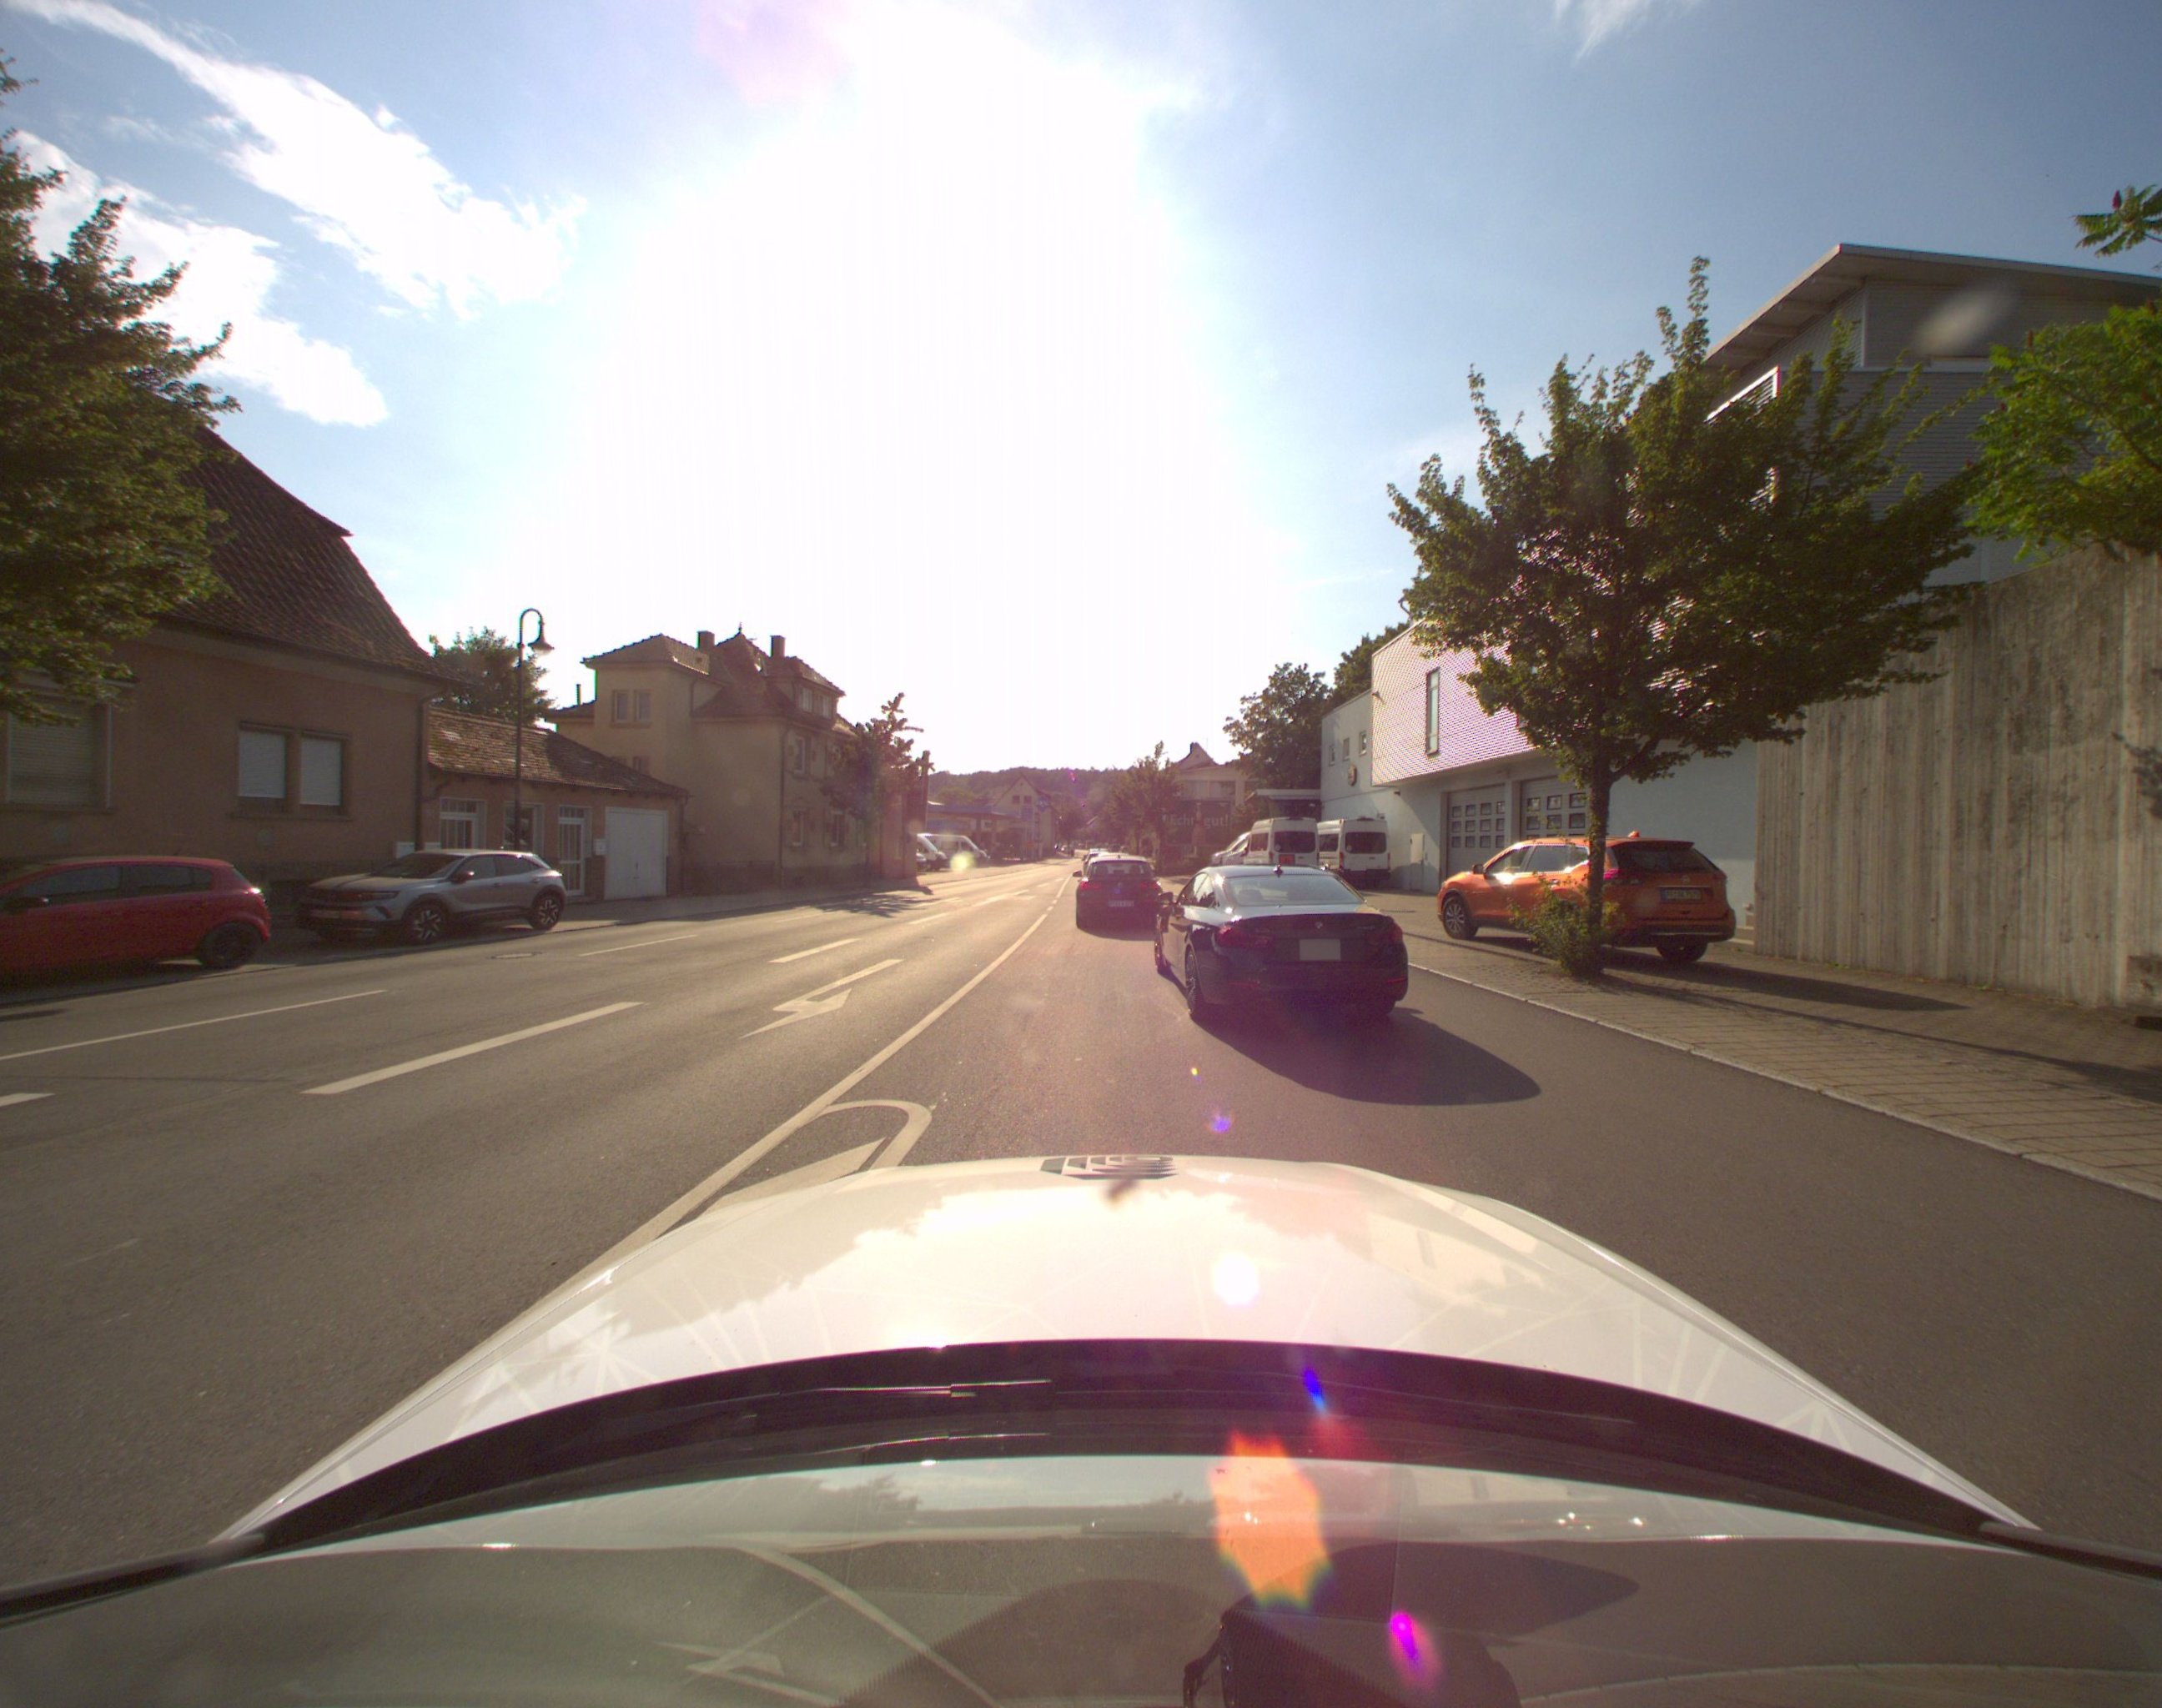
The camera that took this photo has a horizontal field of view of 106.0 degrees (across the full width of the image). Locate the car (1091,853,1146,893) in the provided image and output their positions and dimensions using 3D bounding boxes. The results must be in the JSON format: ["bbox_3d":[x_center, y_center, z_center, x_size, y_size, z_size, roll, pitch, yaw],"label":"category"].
[{"bbox_3d":[1.379,0.680,31.133,1.750,1.414,3.417,0,1,-4],"label":"car"}]

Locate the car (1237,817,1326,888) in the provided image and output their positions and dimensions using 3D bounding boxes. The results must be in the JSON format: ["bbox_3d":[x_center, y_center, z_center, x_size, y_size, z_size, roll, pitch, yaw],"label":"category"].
[{"bbox_3d":[8.170,-0.104,33.869,2.142,2.680,6.604,0,1,1],"label":"car"}]

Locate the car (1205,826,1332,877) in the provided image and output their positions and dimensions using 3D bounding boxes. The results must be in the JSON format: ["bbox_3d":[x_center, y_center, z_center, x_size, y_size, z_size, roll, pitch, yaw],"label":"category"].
[{"bbox_3d":[9.530,-0.123,41.673,6.025,2.516,2.043,0,1,-1],"label":"car"}]

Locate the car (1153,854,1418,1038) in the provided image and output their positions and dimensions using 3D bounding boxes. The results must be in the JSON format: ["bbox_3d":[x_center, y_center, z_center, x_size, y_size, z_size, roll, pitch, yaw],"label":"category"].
[{"bbox_3d":[1.810,0.724,8.577,1.694,1.369,4.261,-1,1,-1],"label":"car"}]

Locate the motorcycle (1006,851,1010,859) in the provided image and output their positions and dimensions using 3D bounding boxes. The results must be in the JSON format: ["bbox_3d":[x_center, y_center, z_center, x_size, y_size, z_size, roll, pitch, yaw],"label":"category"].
[{"bbox_3d":[-8.643,0.133,96.300,0.362,0.943,1.696,0,1,1],"label":"motorcycle"}]

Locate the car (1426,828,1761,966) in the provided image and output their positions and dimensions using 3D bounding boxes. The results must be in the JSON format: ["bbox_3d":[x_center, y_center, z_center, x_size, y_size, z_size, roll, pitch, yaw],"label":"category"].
[{"bbox_3d":[7.144,0.495,12.054,1.832,1.649,4.530,0,0,-5],"label":"car"}]

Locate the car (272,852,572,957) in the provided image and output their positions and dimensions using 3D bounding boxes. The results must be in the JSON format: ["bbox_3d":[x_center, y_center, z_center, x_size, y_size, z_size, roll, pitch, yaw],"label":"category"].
[{"bbox_3d":[-11.446,0.766,14.569,1.746,1.478,4.009,3,1,7],"label":"car"}]

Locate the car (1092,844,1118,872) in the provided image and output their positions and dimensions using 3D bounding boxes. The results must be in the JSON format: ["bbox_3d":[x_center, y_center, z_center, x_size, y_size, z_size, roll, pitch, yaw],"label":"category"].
[{"bbox_3d":[1.607,0.261,53.833,1.595,1.767,3.415,0,1,4],"label":"car"}]

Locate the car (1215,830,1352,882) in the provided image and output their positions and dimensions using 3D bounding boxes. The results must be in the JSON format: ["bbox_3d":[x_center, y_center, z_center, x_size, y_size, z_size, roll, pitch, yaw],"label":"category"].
[{"bbox_3d":[9.541,0.070,38.752,6.025,2.363,2.043,0,1,-1],"label":"car"}]

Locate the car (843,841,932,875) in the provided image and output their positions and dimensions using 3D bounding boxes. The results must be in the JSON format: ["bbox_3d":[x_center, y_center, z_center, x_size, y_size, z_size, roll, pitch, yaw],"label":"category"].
[{"bbox_3d":[-11.866,0.243,50.168,4.953,1.999,1.938,1,0,4],"label":"car"}]

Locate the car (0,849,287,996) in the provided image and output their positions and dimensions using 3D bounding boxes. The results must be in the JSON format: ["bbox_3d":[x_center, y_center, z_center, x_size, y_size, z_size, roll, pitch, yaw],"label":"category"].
[{"bbox_3d":[-12.159,0.725,9.421,1.656,1.487,4.010,3,1,9],"label":"car"}]

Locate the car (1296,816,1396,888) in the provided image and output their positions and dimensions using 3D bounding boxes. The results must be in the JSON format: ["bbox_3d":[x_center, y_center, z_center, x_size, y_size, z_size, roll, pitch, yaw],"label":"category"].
[{"bbox_3d":[10.886,-0.128,34.058,2.104,2.721,6.443,0,1,0],"label":"car"}]

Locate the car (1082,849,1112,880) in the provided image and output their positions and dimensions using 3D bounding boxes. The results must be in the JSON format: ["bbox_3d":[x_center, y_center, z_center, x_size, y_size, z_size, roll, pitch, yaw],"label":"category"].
[{"bbox_3d":[0.855,0.530,44.246,1.586,1.600,3.894,0,1,1],"label":"car"}]

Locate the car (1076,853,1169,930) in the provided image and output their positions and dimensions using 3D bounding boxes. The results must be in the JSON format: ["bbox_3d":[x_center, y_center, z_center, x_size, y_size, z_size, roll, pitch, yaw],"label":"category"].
[{"bbox_3d":[0.889,0.710,17.321,1.764,1.456,3.518,0,0,3],"label":"car"}]

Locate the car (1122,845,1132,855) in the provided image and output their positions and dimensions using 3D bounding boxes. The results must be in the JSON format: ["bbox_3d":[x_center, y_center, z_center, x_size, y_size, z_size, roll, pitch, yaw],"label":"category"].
[{"bbox_3d":[7.392,-0.681,130.938,1.591,1.485,3.475,1,1,1],"label":"car"}]

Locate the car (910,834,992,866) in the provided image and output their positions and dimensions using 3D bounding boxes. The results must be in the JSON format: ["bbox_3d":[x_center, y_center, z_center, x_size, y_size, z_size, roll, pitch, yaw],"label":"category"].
[{"bbox_3d":[-10.419,-0.361,65.747,6.135,2.444,2.251,1,1,2],"label":"car"}]

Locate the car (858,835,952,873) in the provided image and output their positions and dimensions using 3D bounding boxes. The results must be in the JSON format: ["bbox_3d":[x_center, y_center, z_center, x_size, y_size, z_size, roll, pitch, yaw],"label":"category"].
[{"bbox_3d":[-12.069,-0.023,55.980,5.890,2.480,2.198,1,1,6],"label":"car"}]

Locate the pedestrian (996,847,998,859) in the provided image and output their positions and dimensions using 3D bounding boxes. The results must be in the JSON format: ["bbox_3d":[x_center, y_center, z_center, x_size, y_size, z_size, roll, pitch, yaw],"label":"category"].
[{"bbox_3d":[-9.869,-0.138,95.761,0.261,1.383,0.288,0,1,4],"label":"pedestrian"}]

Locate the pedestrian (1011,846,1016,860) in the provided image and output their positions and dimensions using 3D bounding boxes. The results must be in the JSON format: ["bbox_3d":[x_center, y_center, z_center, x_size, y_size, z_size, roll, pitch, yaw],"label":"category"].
[{"bbox_3d":[-7.991,-0.074,96.627,0.608,1.670,0.442,0,1,-2],"label":"pedestrian"}]

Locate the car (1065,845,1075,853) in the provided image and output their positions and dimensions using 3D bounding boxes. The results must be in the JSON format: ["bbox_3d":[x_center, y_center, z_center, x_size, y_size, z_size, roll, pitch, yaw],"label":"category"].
[{"bbox_3d":[-1.868,-0.902,143.520,1.591,1.485,3.475,1,1,1],"label":"car"}]
